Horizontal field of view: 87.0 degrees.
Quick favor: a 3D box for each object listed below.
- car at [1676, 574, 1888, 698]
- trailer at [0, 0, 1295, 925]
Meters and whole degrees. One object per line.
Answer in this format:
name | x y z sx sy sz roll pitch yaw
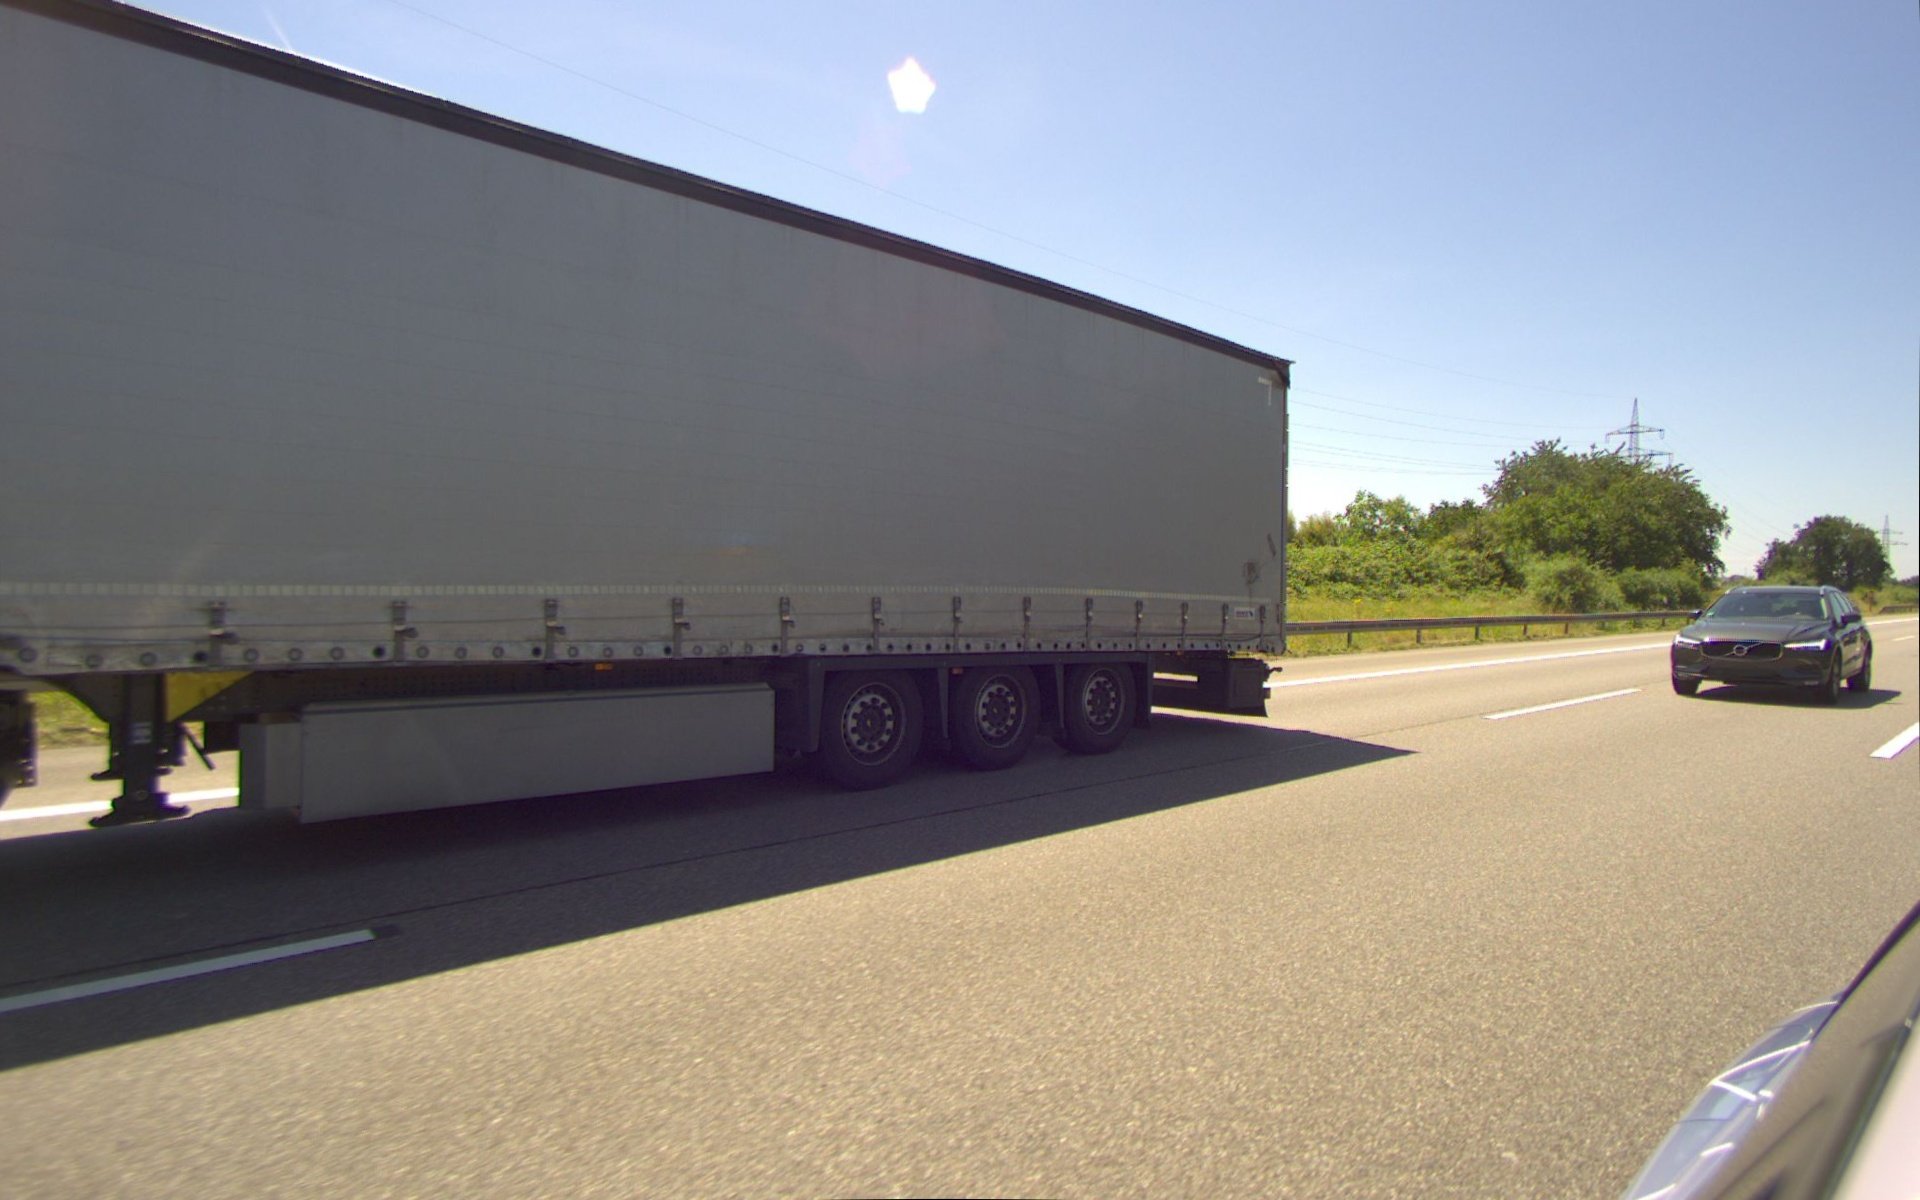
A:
car | 12.536 0.451 15.361 3.934 1.643 1.877 0 1 -41
trailer | -2.156 -0.767 7.656 12.893 4.158 2.741 0 1 -41
